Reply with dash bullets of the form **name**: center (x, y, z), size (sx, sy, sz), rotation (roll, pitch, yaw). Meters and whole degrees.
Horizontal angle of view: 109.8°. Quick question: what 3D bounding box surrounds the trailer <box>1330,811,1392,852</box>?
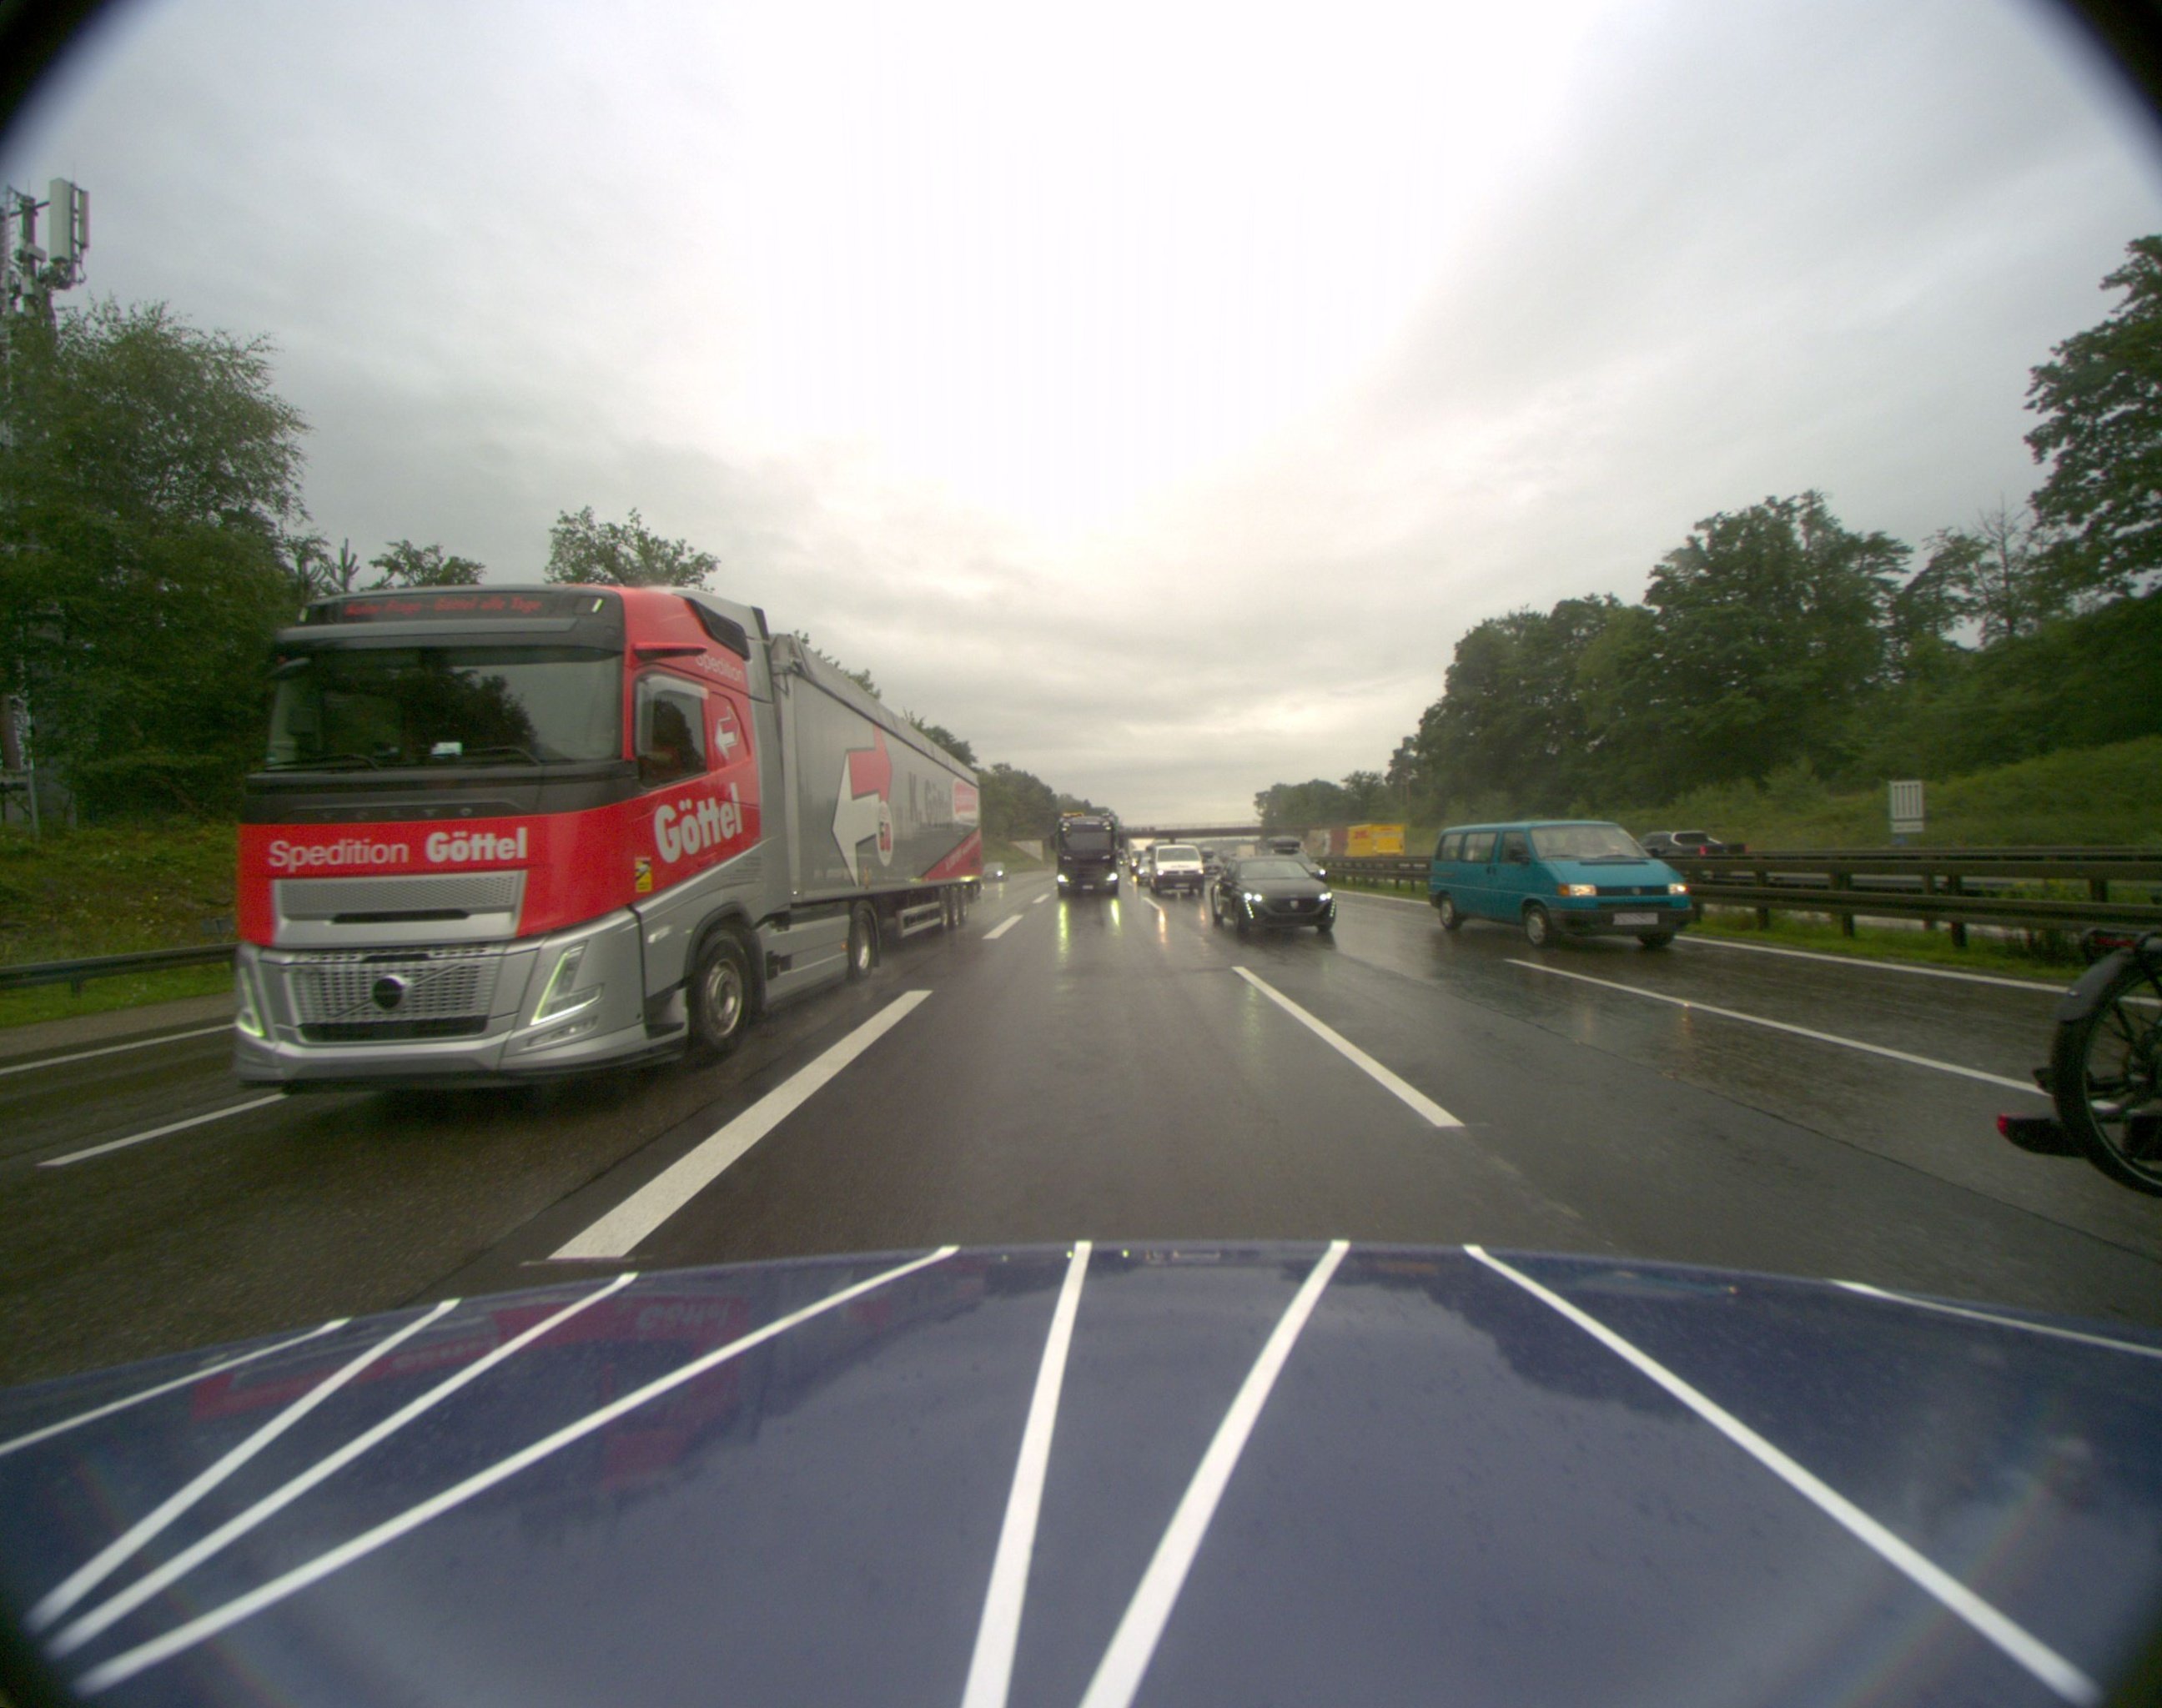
- **trailer**: center (30.190, -2.332, 82.567), size (2.625, 4.002, 12.375), rotation (-2, 0, 3)

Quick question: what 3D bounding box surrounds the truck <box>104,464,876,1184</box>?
- **truck**: center (-4.045, -0.170, 7.055), size (2.608, 3.934, 5.599), rotation (-2, 0, 0)

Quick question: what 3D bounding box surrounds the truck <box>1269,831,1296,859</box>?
- **truck**: center (29.910, -1.330, 113.016), size (2.383, 3.931, 6.537), rotation (-1, 0, 2)

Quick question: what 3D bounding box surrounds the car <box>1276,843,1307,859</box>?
- **car**: center (18.468, -0.273, 66.895), size (1.806, 1.337, 4.001), rotation (-2, 0, 3)

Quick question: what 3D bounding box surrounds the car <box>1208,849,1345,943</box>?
- **car**: center (3.762, 0.717, 15.419), size (1.850, 1.496, 4.467), rotation (-4, 1, 4)

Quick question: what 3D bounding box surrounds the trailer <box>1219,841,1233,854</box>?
- **trailer**: center (45.188, -1.955, 237.510), size (3.030, 3.795, 13.566), rotation (-2, 0, 6)

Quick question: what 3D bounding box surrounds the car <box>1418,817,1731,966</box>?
- **car**: center (7.411, 0.473, 12.165), size (1.915, 1.852, 4.759), rotation (-2, 0, 1)

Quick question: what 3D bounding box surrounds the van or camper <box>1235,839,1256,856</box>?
- **van or camper**: center (23.815, -0.944, 110.121), size (2.234, 2.238, 4.873), rotation (-2, 0, 4)

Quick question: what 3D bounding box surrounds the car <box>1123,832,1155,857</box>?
- **car**: center (3.896, -0.610, 51.499), size (1.994, 1.551, 4.768), rotation (-2, 0, 3)

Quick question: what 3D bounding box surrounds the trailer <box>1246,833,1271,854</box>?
- **trailer**: center (34.642, -2.071, 149.040), size (2.725, 3.931, 13.964), rotation (-1, 0, 5)

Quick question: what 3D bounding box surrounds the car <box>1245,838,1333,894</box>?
- **car**: center (7.571, 0.402, 28.141), size (1.982, 1.814, 4.606), rotation (-2, 0, 1)

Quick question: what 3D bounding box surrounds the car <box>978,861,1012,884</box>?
- **car**: center (-6.479, 1.352, 57.735), size (1.864, 1.554, 4.407), rotation (-2, 0, 2)

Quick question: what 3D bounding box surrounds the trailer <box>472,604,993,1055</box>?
- **trailer**: center (-3.963, -0.242, 14.088), size (2.608, 3.934, 14.581), rotation (-2, 0, 1)

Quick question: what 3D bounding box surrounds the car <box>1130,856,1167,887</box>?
- **car**: center (3.599, 0.880, 40.954), size (1.850, 1.496, 4.467), rotation (-2, 0, 4)

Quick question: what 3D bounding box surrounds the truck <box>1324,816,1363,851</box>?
- **truck**: center (30.503, -2.285, 88.458), size (2.710, 3.795, 6.266), rotation (-2, 0, 4)

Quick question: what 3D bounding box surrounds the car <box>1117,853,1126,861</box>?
- **car**: center (8.425, 0.547, 158.403), size (1.864, 1.554, 4.436), rotation (-2, 0, 2)

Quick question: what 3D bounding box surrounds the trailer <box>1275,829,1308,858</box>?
- **trailer**: center (29.864, -1.421, 108.280), size (2.383, 3.931, 9.422), rotation (-1, 0, 2)

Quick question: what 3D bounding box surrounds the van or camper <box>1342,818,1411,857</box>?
- **van or camper**: center (24.816, -1.315, 64.348), size (2.848, 2.961, 8.788), rotation (-2, 0, 4)

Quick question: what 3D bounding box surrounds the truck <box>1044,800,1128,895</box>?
- **truck**: center (0.526, -0.314, 34.589), size (2.878, 3.528, 10.914), rotation (-2, 1, 5)

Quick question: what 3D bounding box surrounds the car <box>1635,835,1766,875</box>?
- **car**: center (23.200, 0.043, 28.682), size (1.806, 1.337, 4.001), rotation (-2, 0, 3)

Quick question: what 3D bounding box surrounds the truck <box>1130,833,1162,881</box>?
- **truck**: center (5.722, 0.232, 67.338), size (2.520, 3.941, 6.996), rotation (-2, 0, 4)

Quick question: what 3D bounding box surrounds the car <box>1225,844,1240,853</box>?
- **car**: center (31.119, -1.114, 156.039), size (1.982, 1.814, 5.223), rotation (-2, 0, 1)

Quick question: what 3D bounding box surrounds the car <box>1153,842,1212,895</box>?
- **car**: center (3.963, 0.549, 30.458), size (1.994, 1.869, 4.768), rotation (-2, 0, 4)

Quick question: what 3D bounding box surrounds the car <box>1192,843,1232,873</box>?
- **car**: center (8.735, 0.252, 51.050), size (1.982, 1.814, 4.606), rotation (-2, 0, 2)

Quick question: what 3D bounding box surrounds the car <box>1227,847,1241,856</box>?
- **car**: center (31.556, -0.584, 156.729), size (1.998, 1.759, 5.040), rotation (-1, 0, 2)
